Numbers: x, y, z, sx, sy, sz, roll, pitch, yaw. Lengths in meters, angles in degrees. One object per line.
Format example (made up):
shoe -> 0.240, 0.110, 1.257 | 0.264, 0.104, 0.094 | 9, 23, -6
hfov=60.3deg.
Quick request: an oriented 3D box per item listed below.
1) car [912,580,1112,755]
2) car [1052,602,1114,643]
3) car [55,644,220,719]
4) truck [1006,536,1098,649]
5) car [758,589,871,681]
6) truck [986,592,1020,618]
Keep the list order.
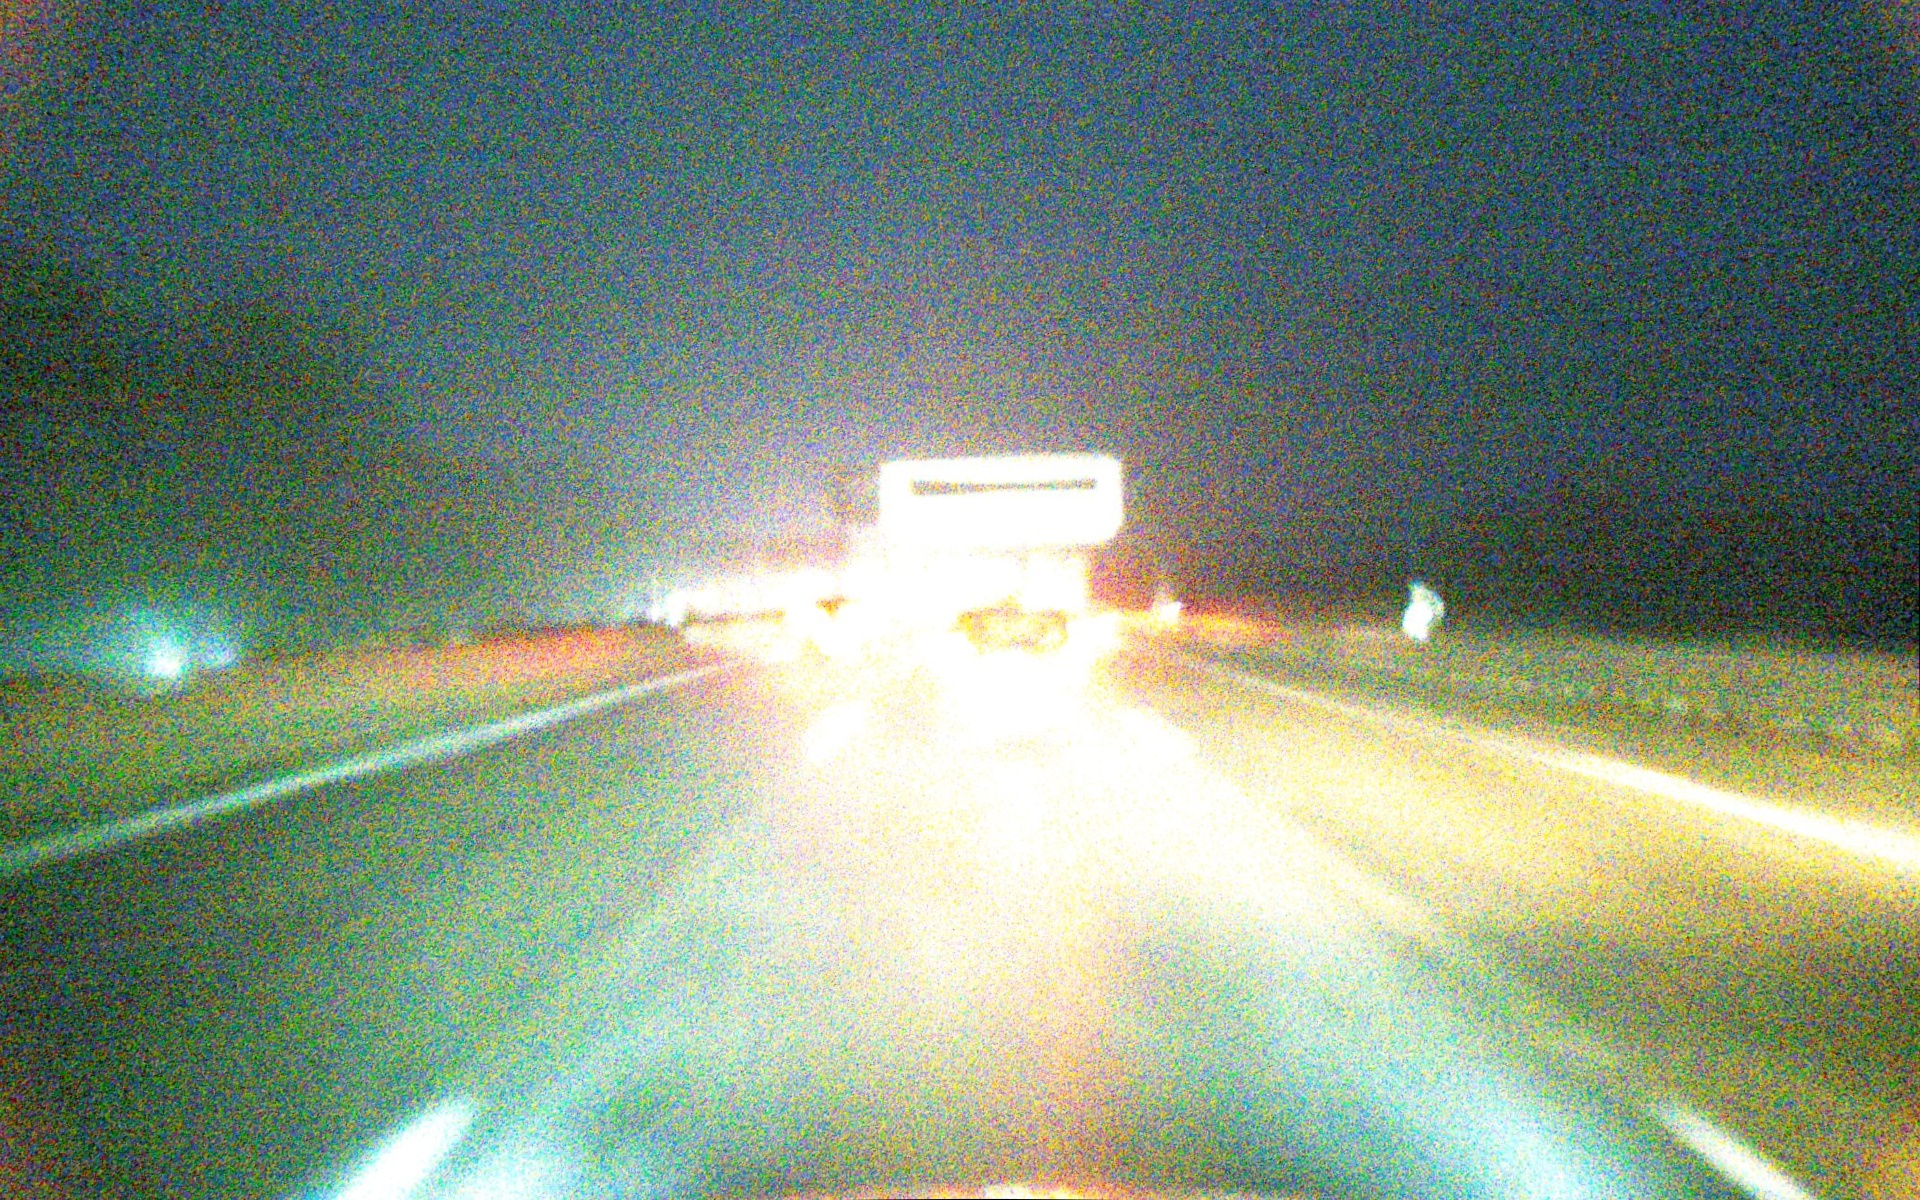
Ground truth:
car -> 0.497, 0.664, 18.105 | 1.877, 1.622, 4.233 | -2, 0, 0
car -> 4.437, 0.788, 60.020 | 1.851, 1.378, 3.999 | 2, 0, -1
car -> -19.613, 1.910, 39.648 | 1.953, 1.512, 4.000 | 1, 0, -1
truck -> 4.913, -0.343, 91.574 | 4.082, 5.641, 13.072 | -2, 0, 0
car -> -3.121, 0.728, 36.394 | 1.953, 1.808, 4.887 | -2, 0, 0
truck -> 5.411, 0.656, 209.631 | 3.757, 3.108, 11.002 | 1, 0, -1
